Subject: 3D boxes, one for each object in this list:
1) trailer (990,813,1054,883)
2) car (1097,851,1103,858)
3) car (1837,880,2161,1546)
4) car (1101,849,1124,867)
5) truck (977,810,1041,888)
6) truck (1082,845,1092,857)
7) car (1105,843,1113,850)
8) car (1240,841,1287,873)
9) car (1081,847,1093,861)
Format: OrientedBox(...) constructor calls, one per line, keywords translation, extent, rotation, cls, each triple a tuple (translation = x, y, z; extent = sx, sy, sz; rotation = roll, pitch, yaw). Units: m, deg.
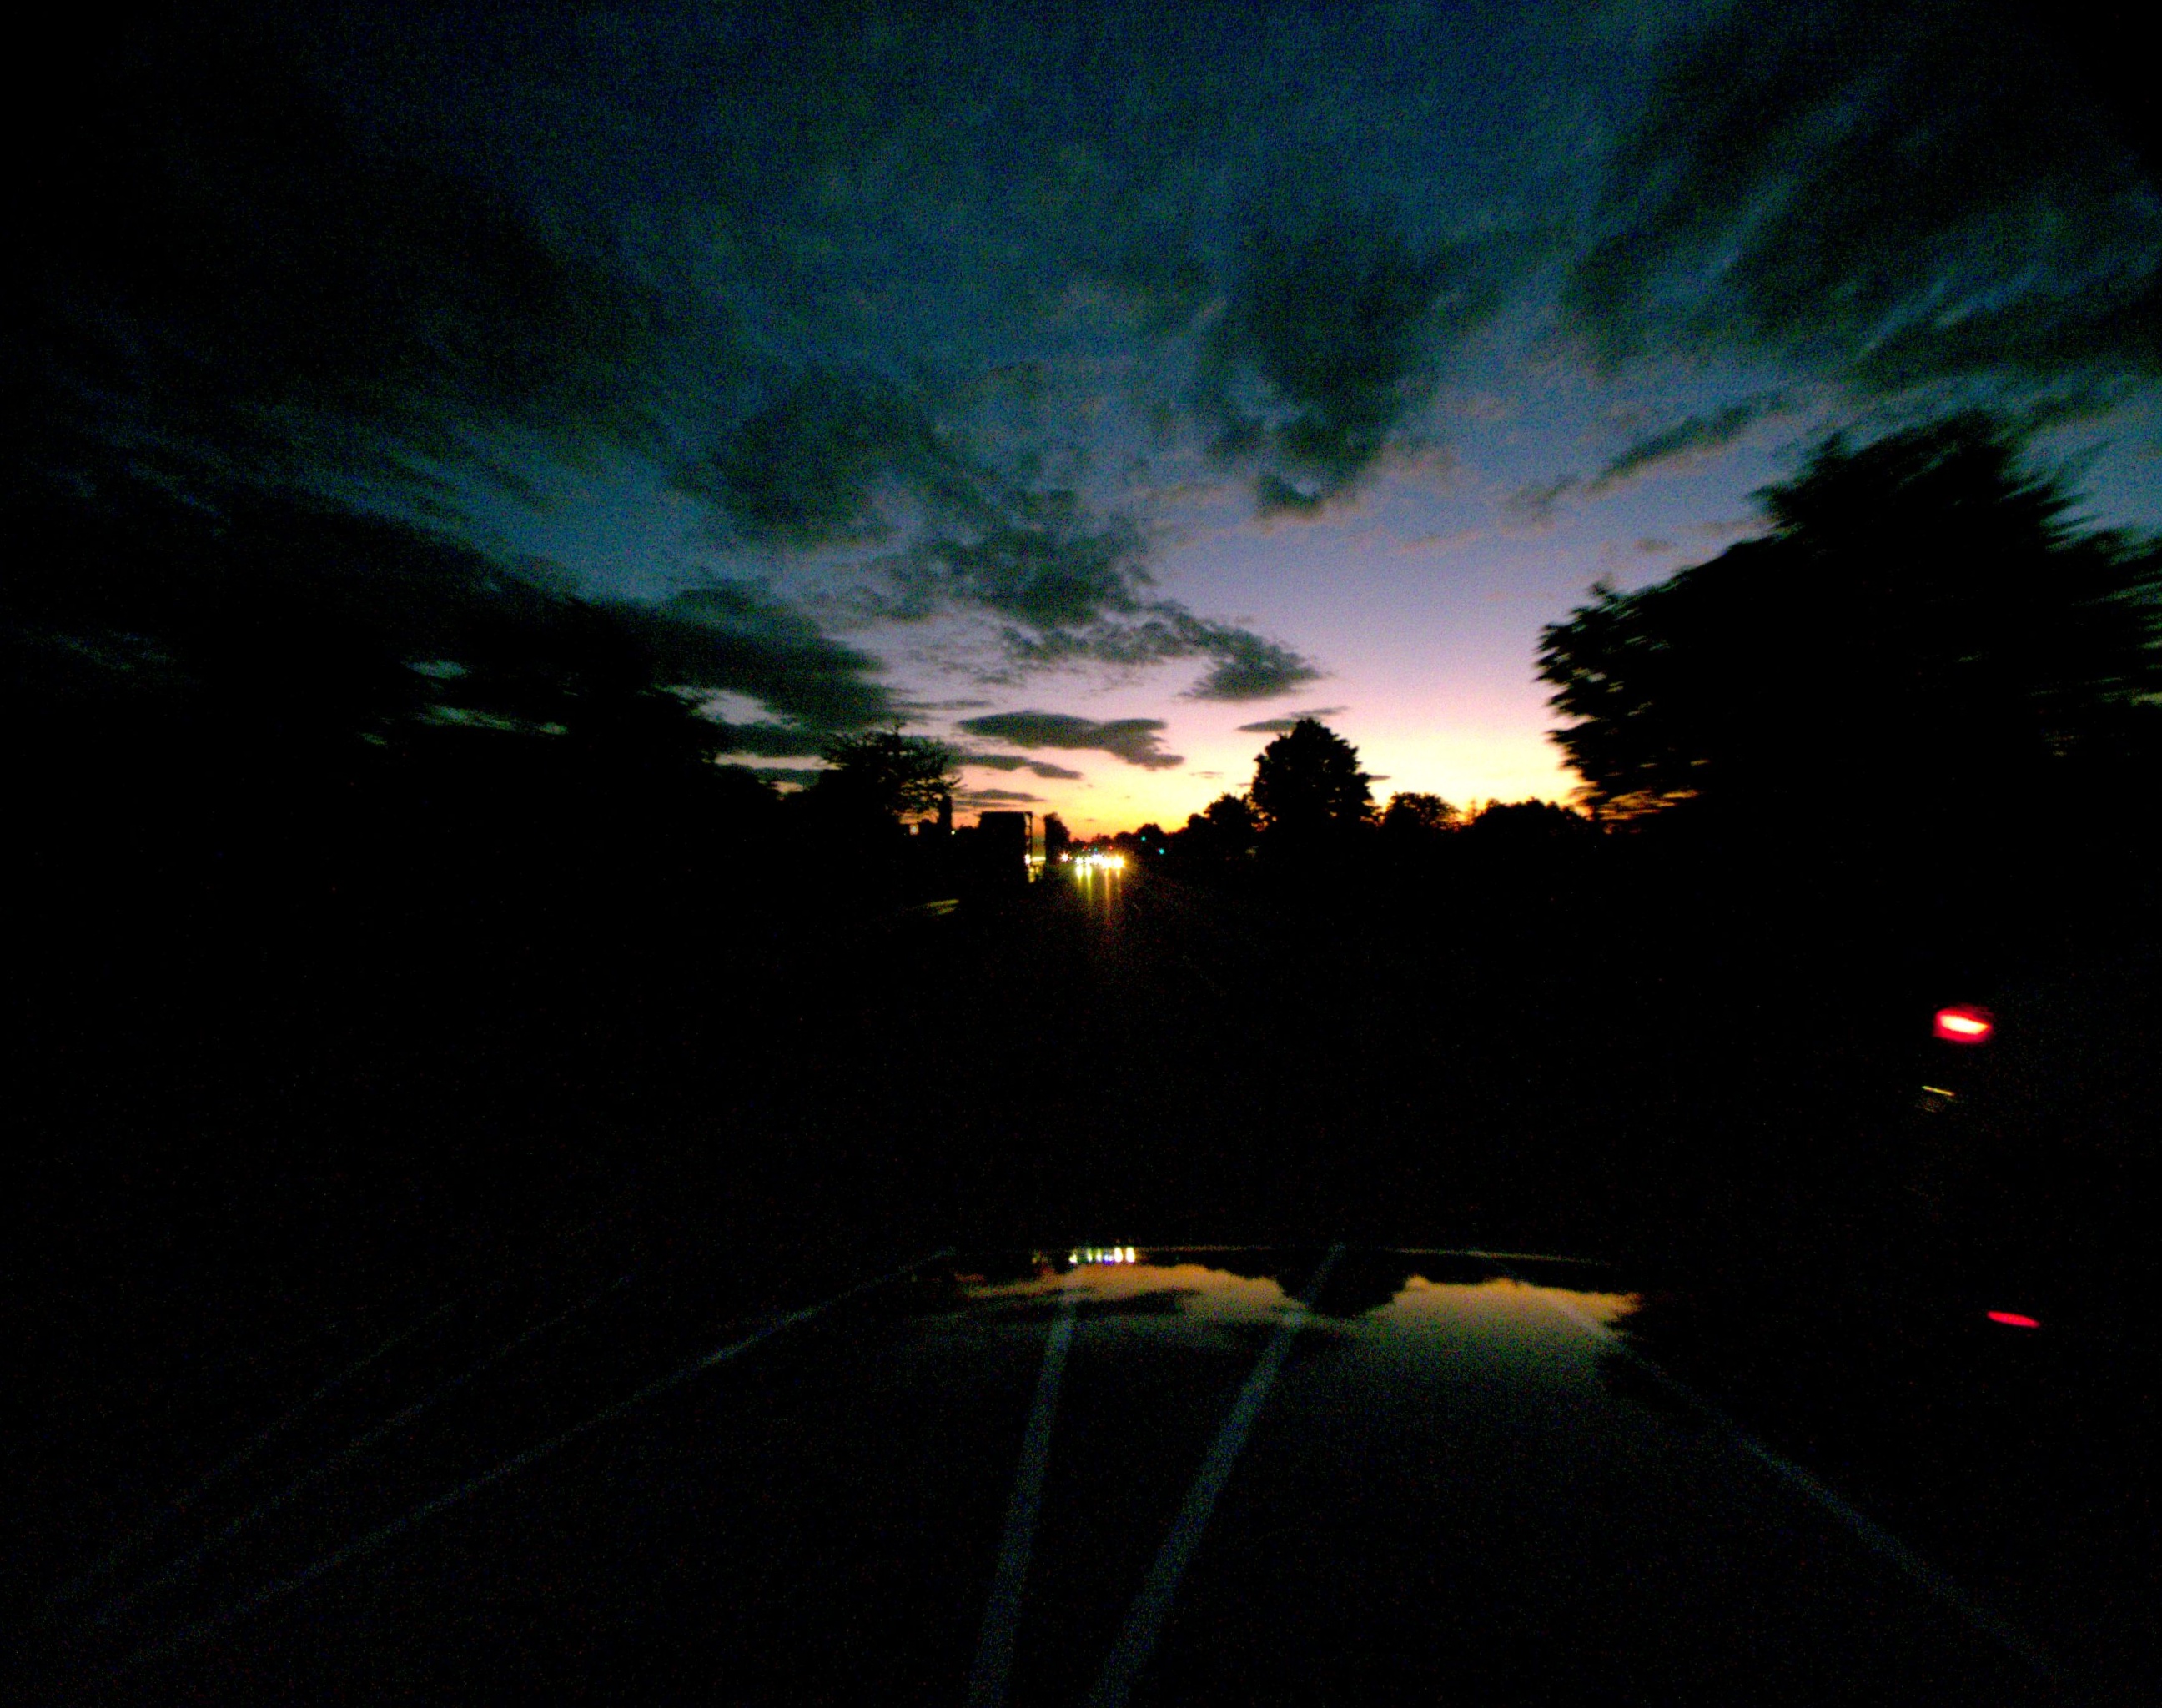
OrientedBox(translation=(-3.462, -0.406, 48.012), extent=(2.474, 3.790, 12.671), rotation=(-2, 1, 2), cls="trailer")
OrientedBox(translation=(6.212, 0.158, 246.719), extent=(1.998, 2.002, 4.000), rotation=(-2, 1, 2), cls="car")
OrientedBox(translation=(3.287, 0.860, 0.203), extent=(1.646, 1.482, 4.579), rotation=(-2, 1, 1), cls="car")
OrientedBox(translation=(3.103, 0.382, 76.004), extent=(1.999, 1.635, 4.296), rotation=(-2, 1, -1), cls="car")
OrientedBox(translation=(-3.719, -0.304, 40.338), extent=(2.490, 3.778, 5.498), rotation=(-2, 1, 2), cls="truck")
OrientedBox(translation=(1.873, -0.902, 235.619), extent=(3.016, 3.674, 9.057), rotation=(-2, 1, 0), cls="truck")
OrientedBox(translation=(7.981, -2.136, 218.756), extent=(1.999, 2.002, 3.999), rotation=(-2, 1, 0), cls="car")
OrientedBox(translation=(12.787, 0.191, 53.596), extent=(1.970, 2.087, 5.346), rotation=(-2, 1, 0), cls="car")
OrientedBox(translation=(0.877, -0.060, 114.596), extent=(1.741, 2.002, 4.000), rotation=(-2, 0, 0), cls="car")
